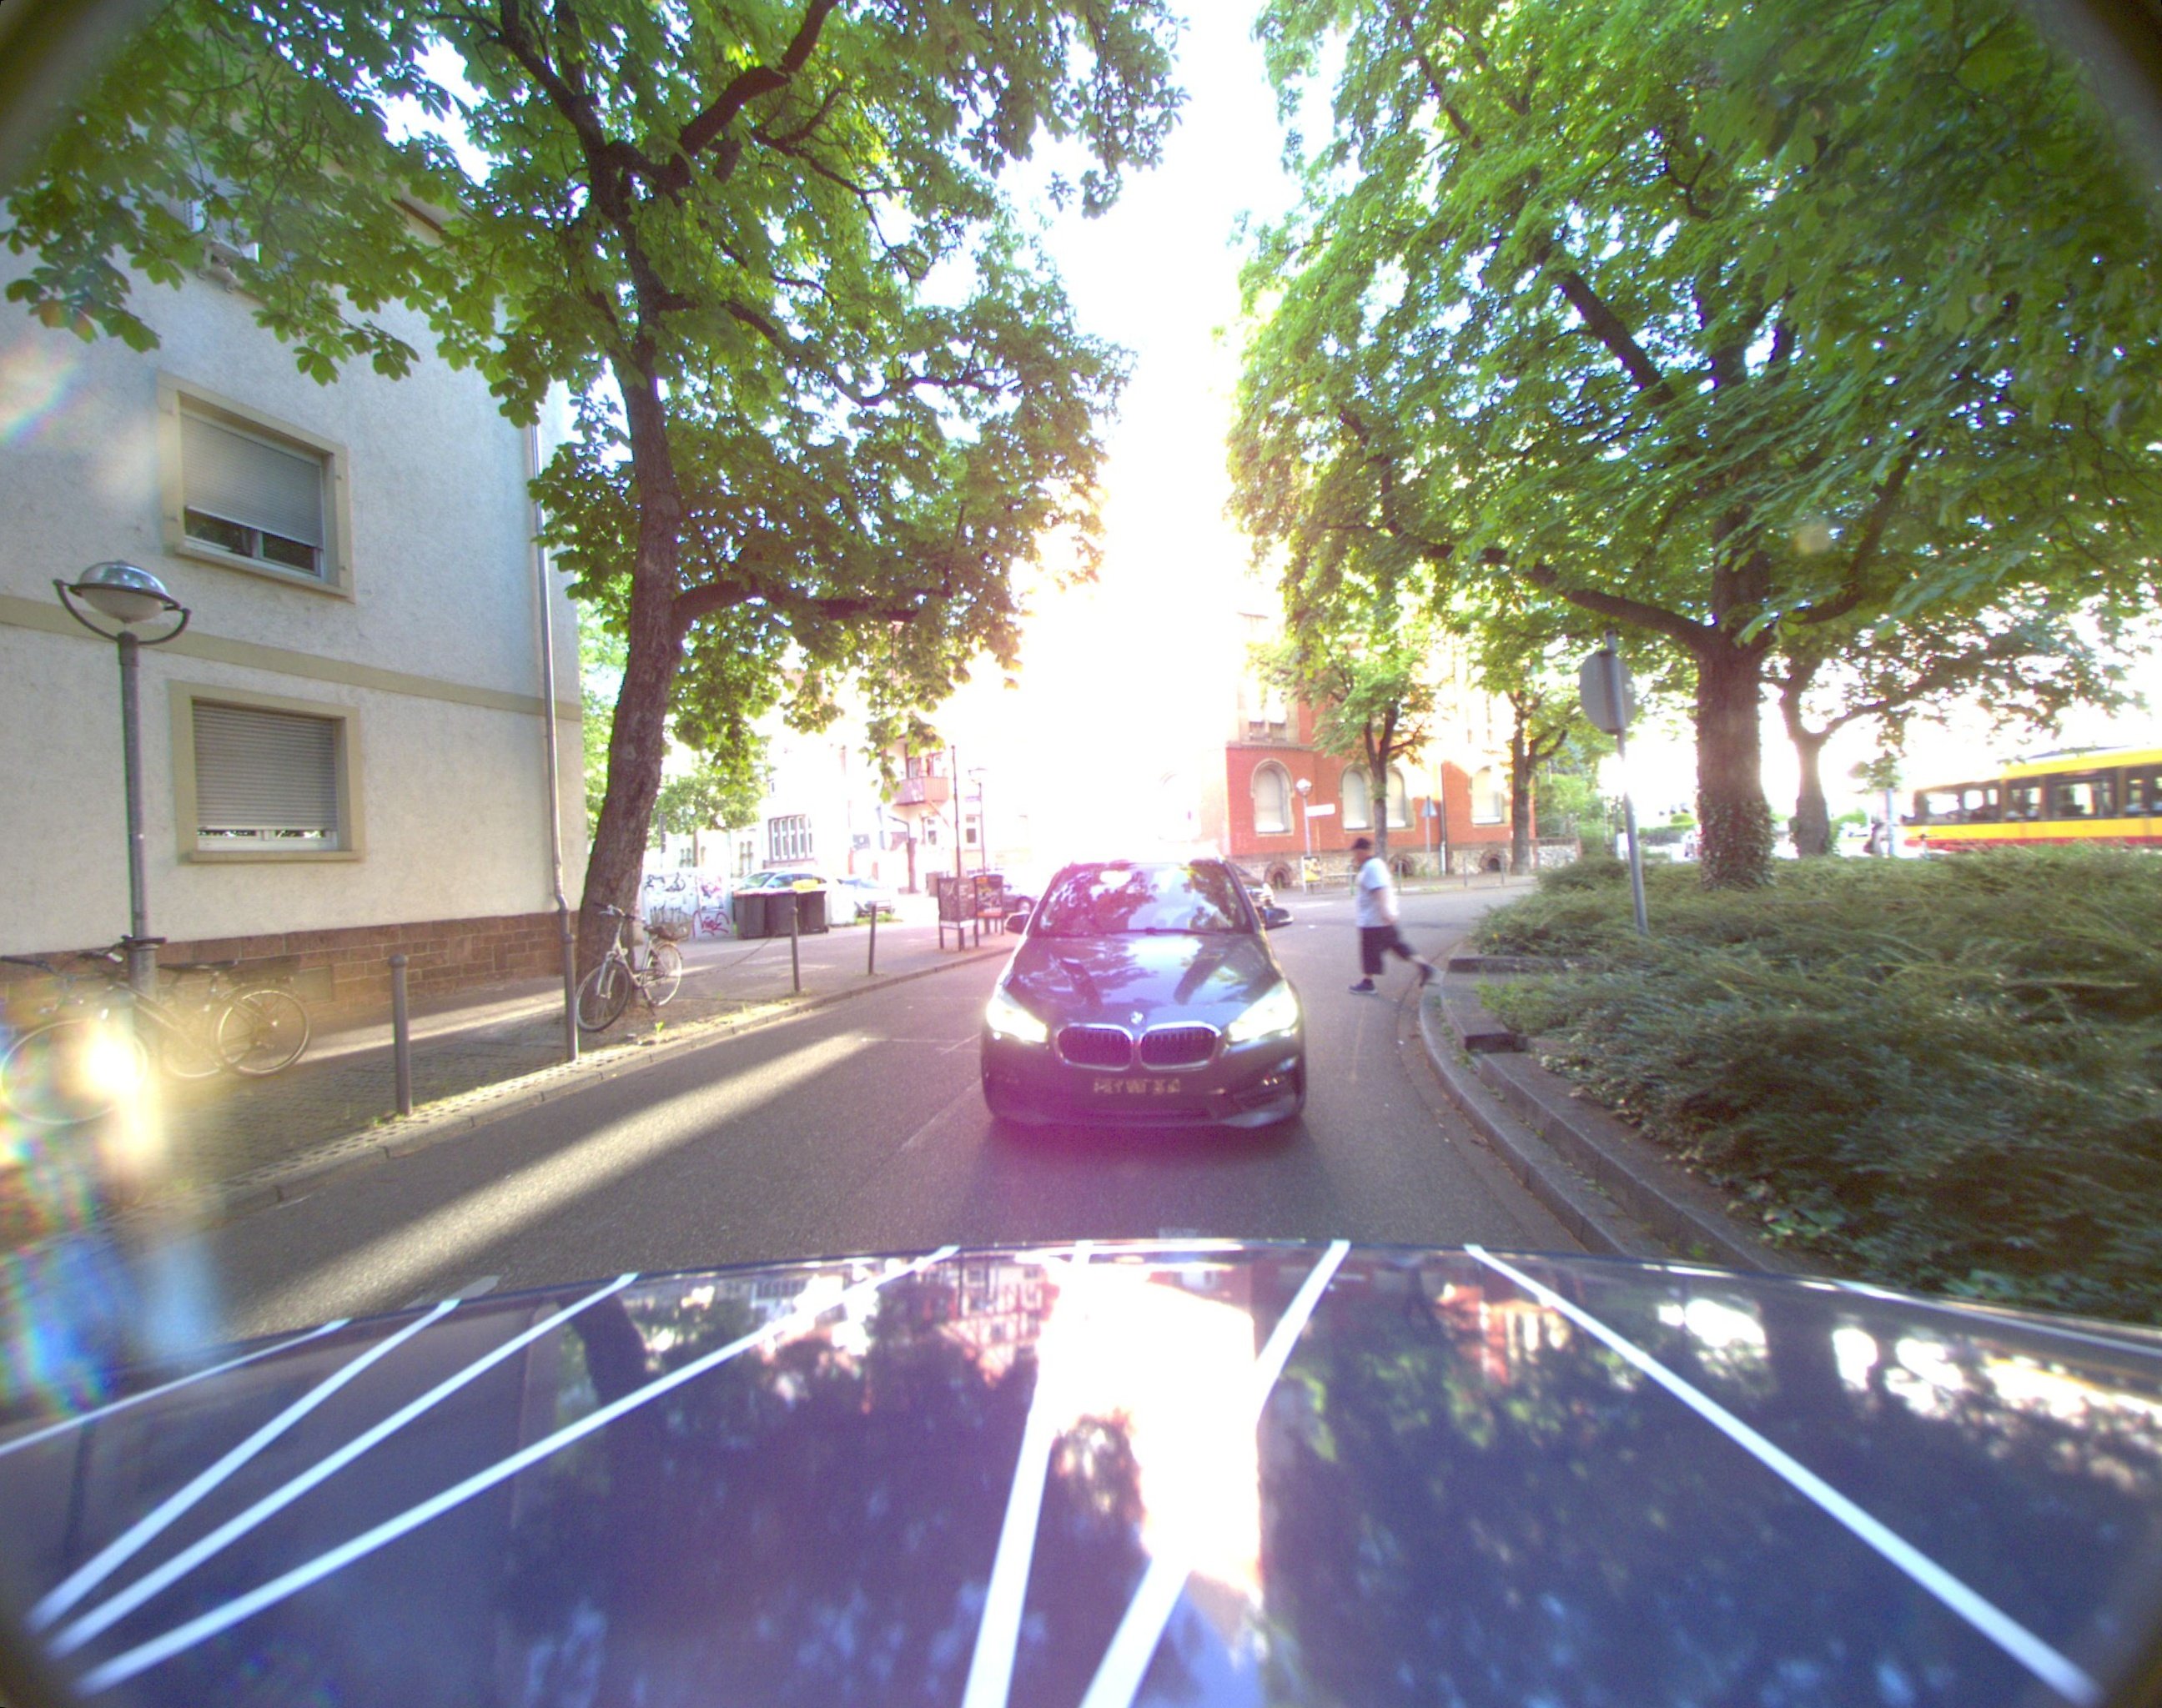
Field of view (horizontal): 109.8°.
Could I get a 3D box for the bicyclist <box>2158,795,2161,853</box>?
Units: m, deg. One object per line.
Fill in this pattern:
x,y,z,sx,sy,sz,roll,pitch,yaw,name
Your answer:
29.179,-0.818,20.075,0.597,1.564,0.556,-3,0,20,bicyclist

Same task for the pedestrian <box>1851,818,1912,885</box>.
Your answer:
20.656,-0.065,19.613,0.905,1.625,0.724,-5,0,-24,pedestrian

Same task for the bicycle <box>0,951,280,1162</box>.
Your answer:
-6.774,1.343,5.406,0.334,1.087,1.636,-3,0,1,bicycle

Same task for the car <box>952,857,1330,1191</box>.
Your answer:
0.498,0.859,5.849,1.792,1.569,4.262,-2,0,6,car

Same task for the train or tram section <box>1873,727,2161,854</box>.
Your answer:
33.227,-1.933,25.913,2.768,3.536,12.697,-3,0,18,train or tram section

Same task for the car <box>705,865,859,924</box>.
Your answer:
-8.626,1.132,22.169,1.672,1.417,3.811,-3,0,36,car

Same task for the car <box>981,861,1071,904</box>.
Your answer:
-2.130,1.086,29.043,3.207,1.530,1.495,-2,0,38,car

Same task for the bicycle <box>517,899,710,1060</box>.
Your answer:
-4.626,1.175,7.718,0.767,1.297,1.903,-3,0,-2,bicycle

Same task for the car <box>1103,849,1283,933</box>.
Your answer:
2.409,0.804,17.031,1.684,1.619,3.678,-3,0,-42,car

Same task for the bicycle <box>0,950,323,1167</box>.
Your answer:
-6.382,1.328,5.370,0.334,1.087,1.636,-3,0,1,bicycle

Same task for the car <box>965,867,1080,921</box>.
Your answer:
-1.775,1.171,22.387,1.475,1.381,3.392,-4,1,-45,car

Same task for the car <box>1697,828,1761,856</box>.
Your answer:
37.001,-0.696,43.495,1.733,1.409,4.006,-3,0,25,car

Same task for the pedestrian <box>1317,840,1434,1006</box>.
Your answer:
3.021,0.676,7.781,0.942,1.583,0.643,-3,0,32,pedestrian

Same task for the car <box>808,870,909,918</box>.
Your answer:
-8.210,1.452,27.833,4.041,1.543,1.700,-3,0,44,car
